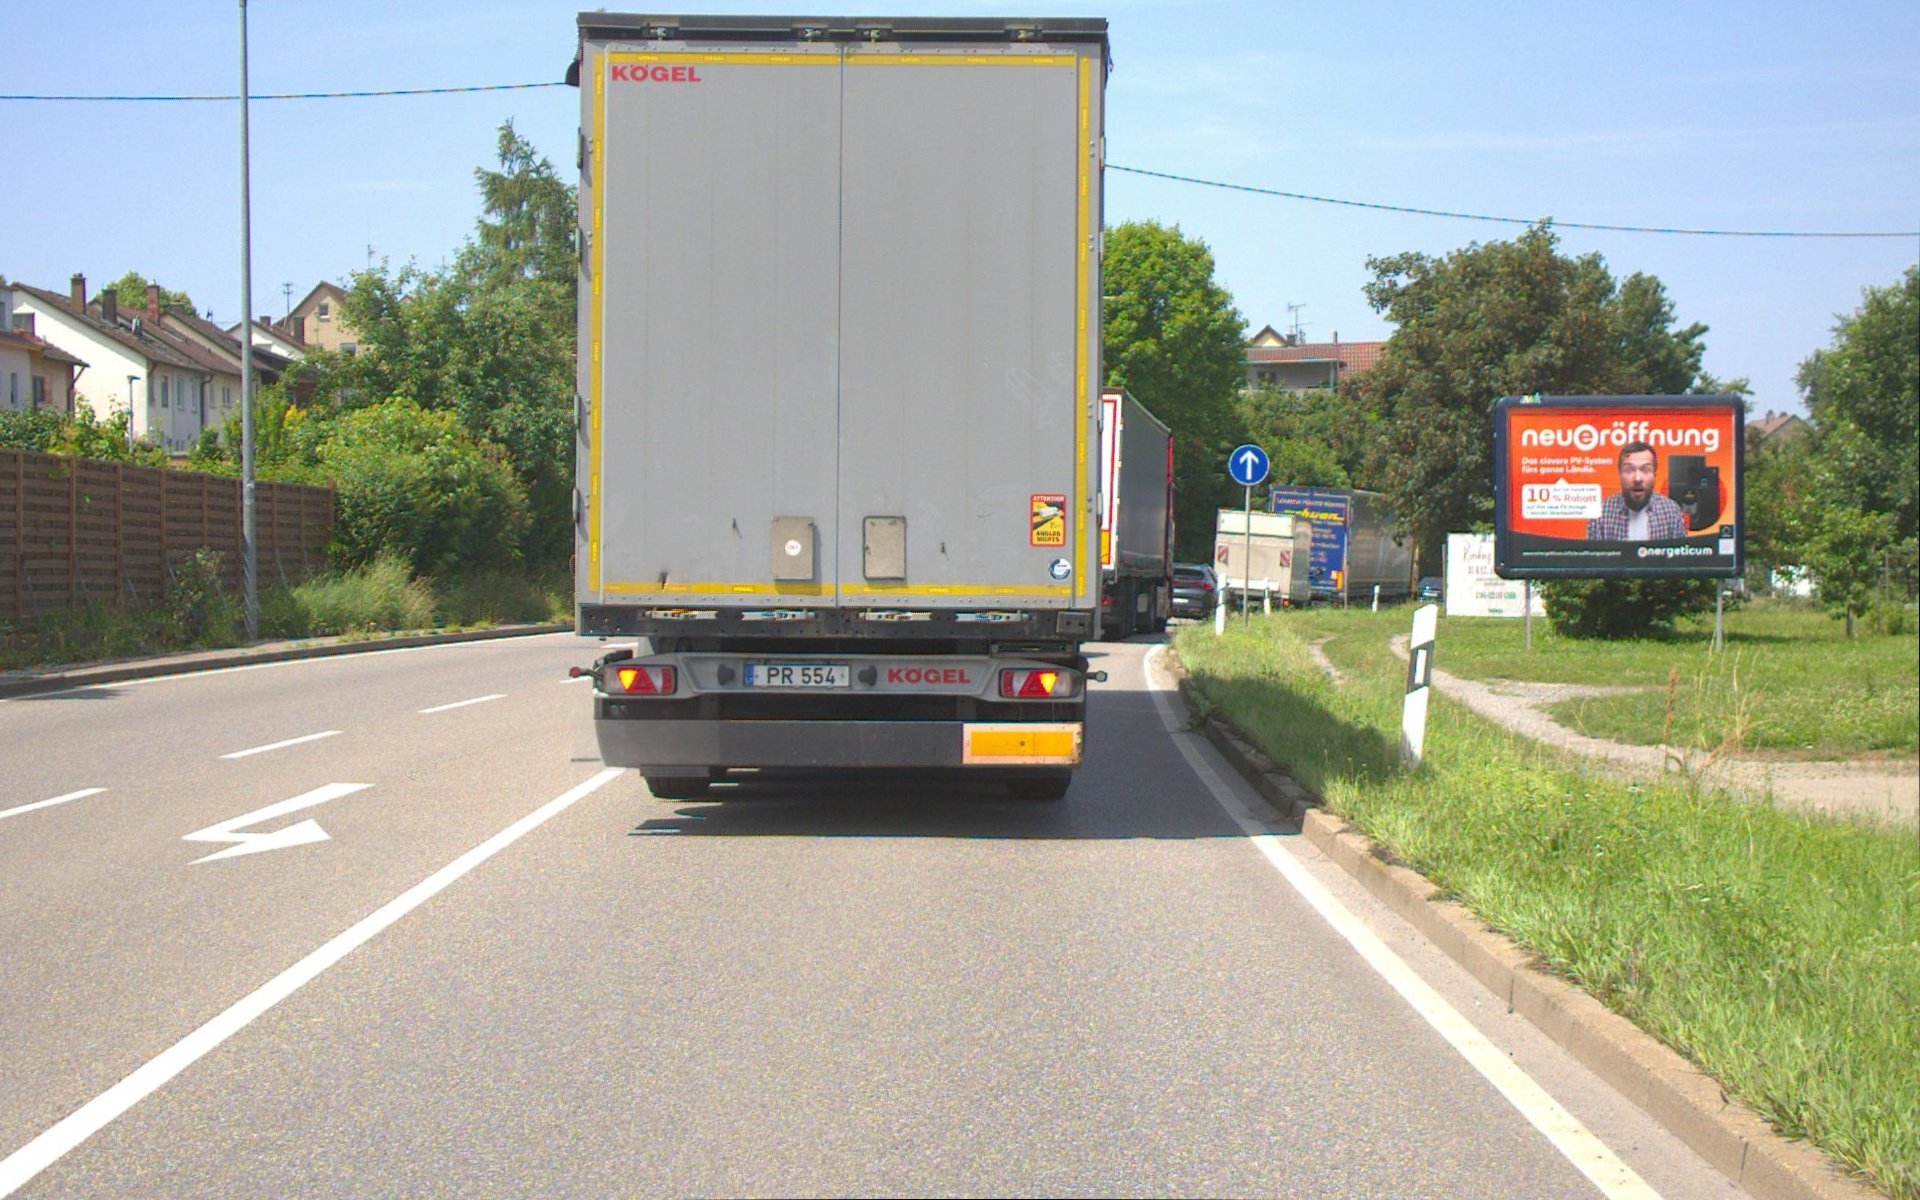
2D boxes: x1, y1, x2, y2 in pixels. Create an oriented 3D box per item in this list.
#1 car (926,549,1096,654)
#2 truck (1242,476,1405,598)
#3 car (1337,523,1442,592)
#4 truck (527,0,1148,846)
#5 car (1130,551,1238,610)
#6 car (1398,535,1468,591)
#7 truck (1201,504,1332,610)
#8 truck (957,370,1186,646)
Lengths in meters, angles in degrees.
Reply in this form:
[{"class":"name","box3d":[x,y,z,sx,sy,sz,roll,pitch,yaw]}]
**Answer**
[{"class":"car","box3d":[0.738,0.017,47.017,1.819,1.342,3.846,1,0,8]},{"class":"truck","box3d":[11.472,-1.984,107.542,3.435,3.592,9.347,1,1,16]},{"class":"car","box3d":[14.816,-1.474,118.153,2.534,2.269,6.376,1,1,16]},{"class":"truck","box3d":[-0.620,-1.025,21.839,2.822,4.113,11.444,1,1,0]},{"class":"car","box3d":[5.441,-0.460,83.023,1.995,1.371,3.998,1,0,13]},{"class":"car","box3d":[17.693,-1.376,128.470,1.995,2.007,3.997,1,0,17]},{"class":"truck","box3d":[8.555,-1.154,95.429,2.545,2.793,6.027,1,0,15]},{"class":"truck","box3d":[2.282,-1.467,62.131,2.761,4.274,16.411,1,0,6]}]
